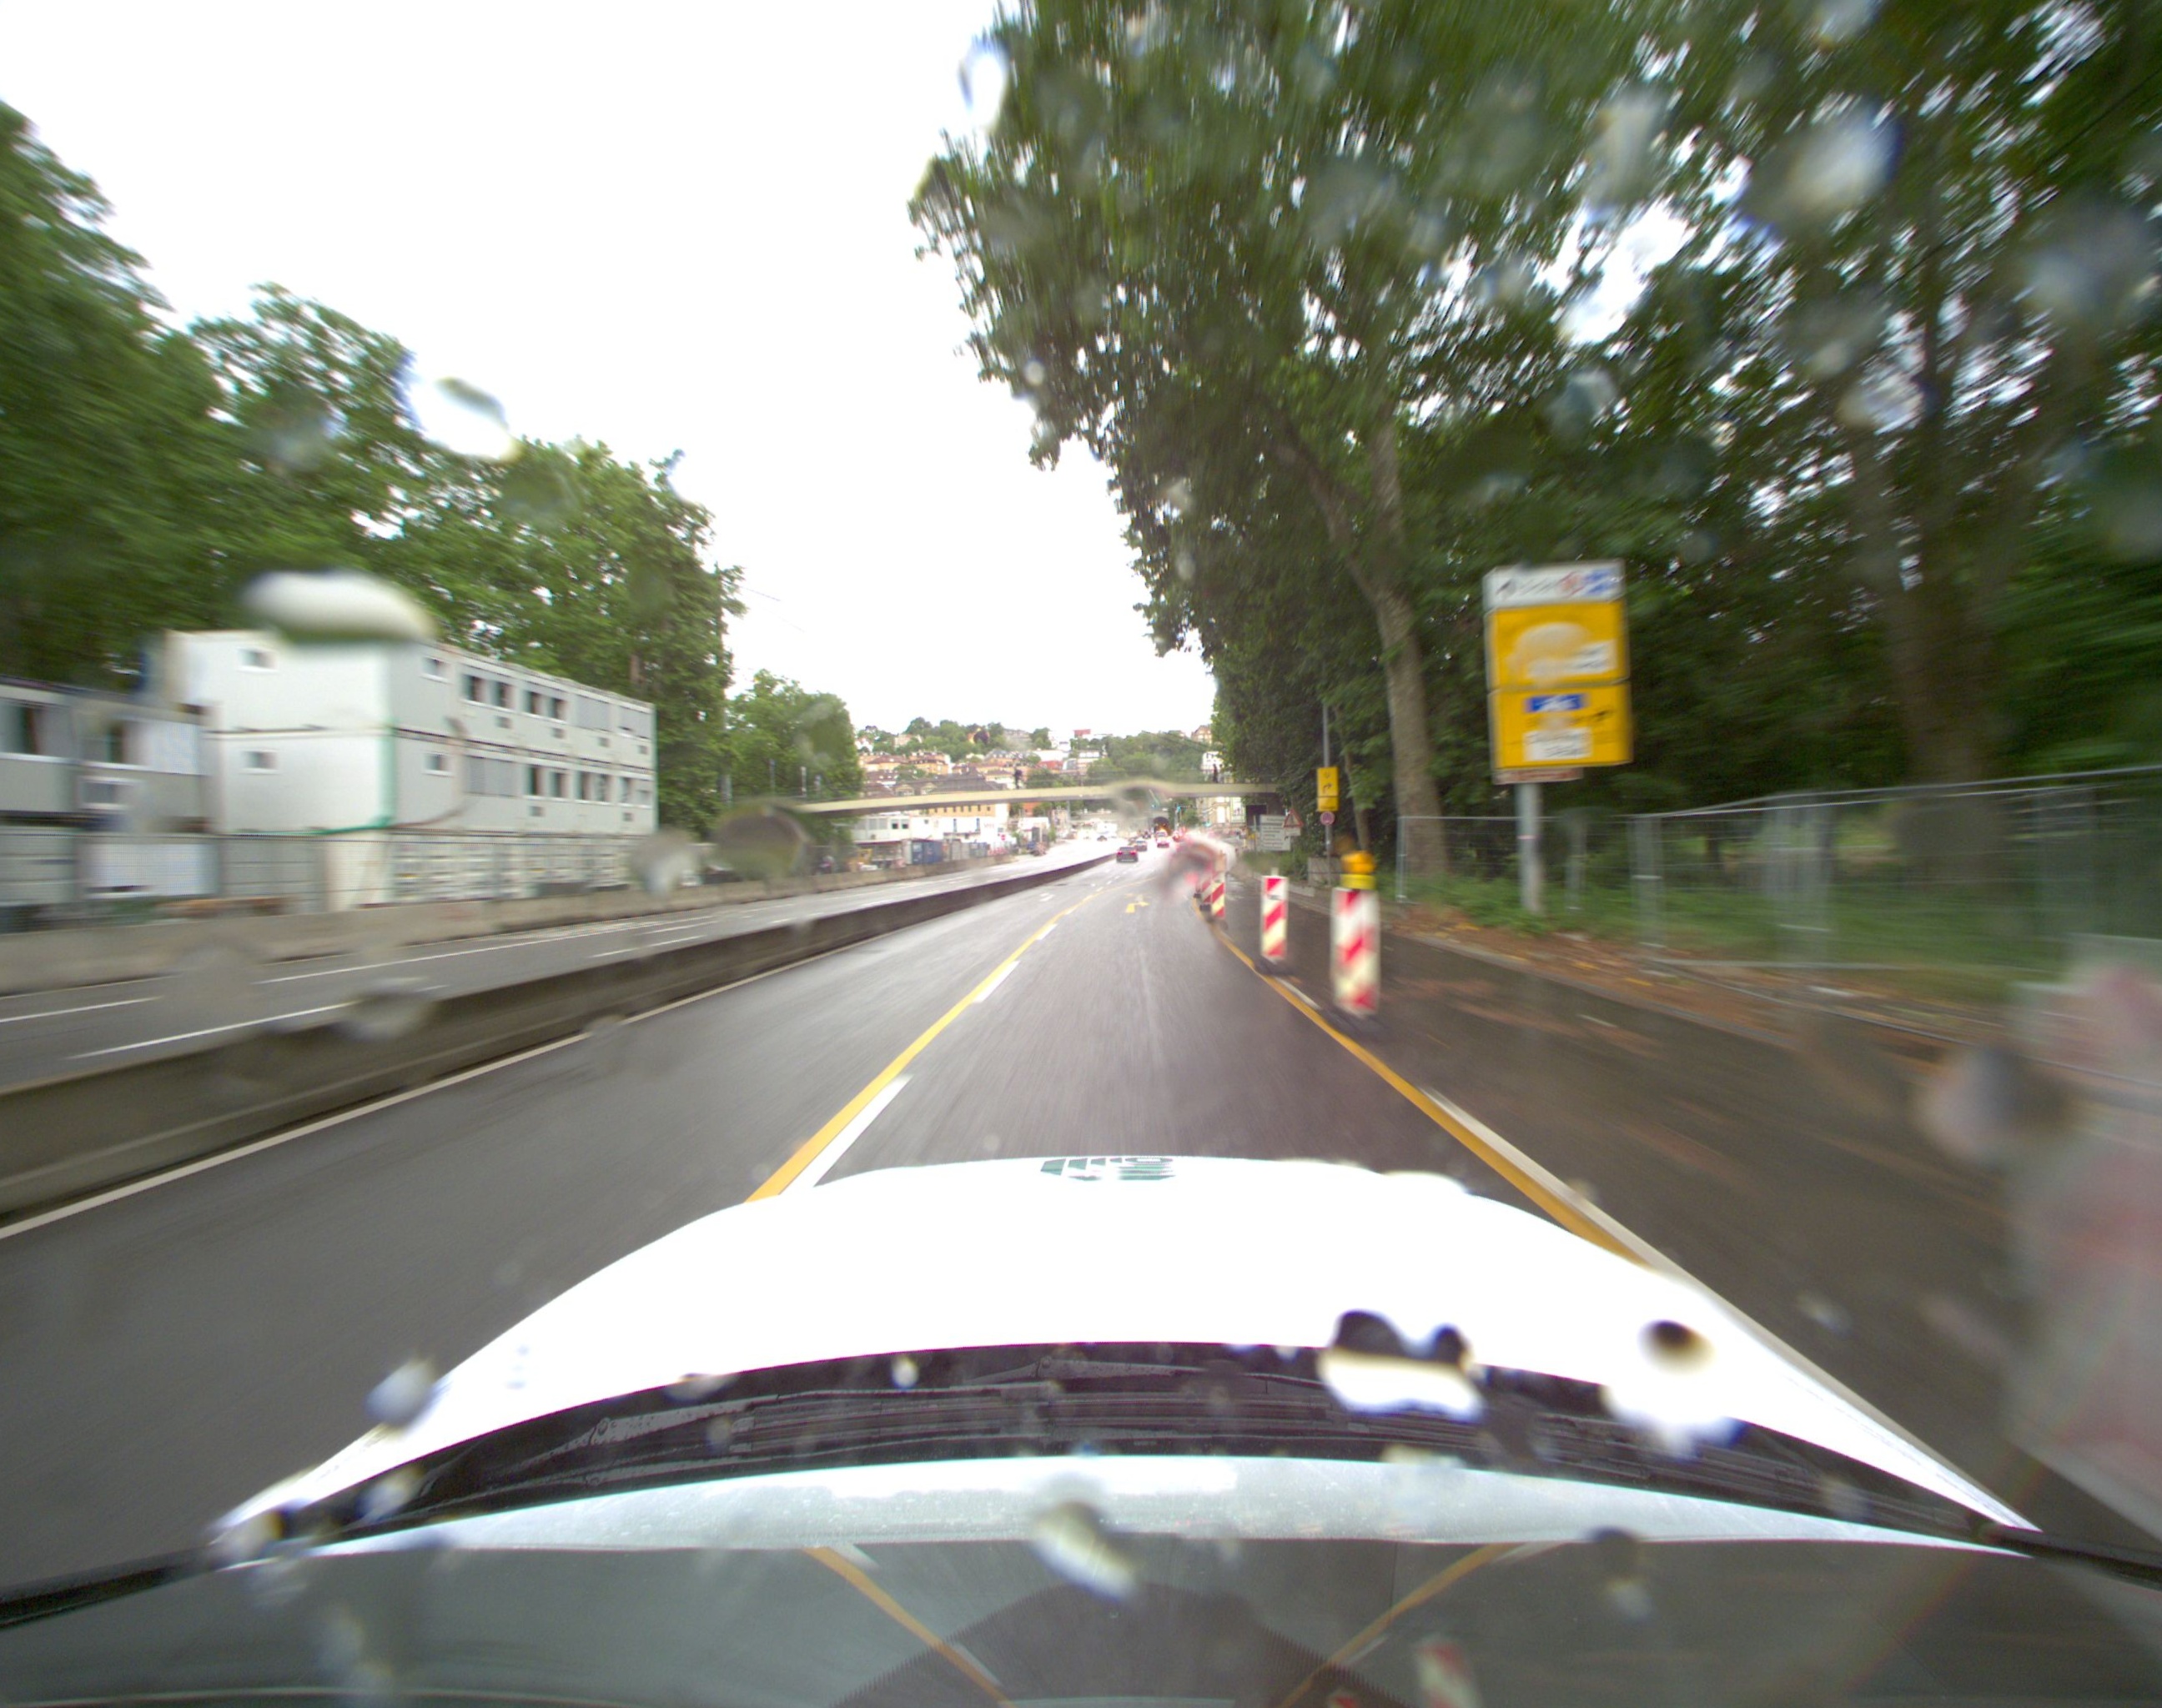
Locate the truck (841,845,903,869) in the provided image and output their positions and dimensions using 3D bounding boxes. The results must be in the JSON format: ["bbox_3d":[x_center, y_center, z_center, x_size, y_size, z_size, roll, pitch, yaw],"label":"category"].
[{"bbox_3d":[-19.882,0.288,77.547,5.229,2.013,2.164,-3,0,1],"label":"truck"}]

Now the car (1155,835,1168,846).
[{"bbox_3d":[14.249,-2.363,144.505,1.985,1.869,4.004,-3,0,4],"label":"car"}]

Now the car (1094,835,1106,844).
[{"bbox_3d":[3.616,-2.799,154.264,2.072,1.630,4.859,-2,1,4],"label":"car"}]

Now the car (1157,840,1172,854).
[{"bbox_3d":[12.574,-1.083,122.965,2.042,2.013,4.005,-3,0,4],"label":"car"}]

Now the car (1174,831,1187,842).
[{"bbox_3d":[17.920,-3.145,147.361,1.985,1.698,4.003,-3,0,3],"label":"car"}]

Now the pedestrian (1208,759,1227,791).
[{"bbox_3d":[9.496,-5.462,56.633,1.140,2.060,1.063,-3,-1,13],"label":"pedestrian"}]

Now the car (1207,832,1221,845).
[{"bbox_3d":[22.560,-2.636,138.411,1.984,2.013,4.006,-1,1,5],"label":"car"}]

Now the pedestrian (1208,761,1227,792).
[{"bbox_3d":[9.688,-5.482,57.657,1.140,2.060,1.063,-3,-1,13],"label":"pedestrian"}]

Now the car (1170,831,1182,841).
[{"bbox_3d":[17.931,-3.436,153.624,1.985,1.698,4.003,-3,0,3],"label":"car"}]

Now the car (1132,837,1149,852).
[{"bbox_3d":[8.133,-1.260,110.622,1.982,2.013,4.009,-3,0,8],"label":"car"}]

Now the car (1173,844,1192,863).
[{"bbox_3d":[11.939,-0.068,96.008,2.095,2.050,4.006,-3,0,5],"label":"car"}]

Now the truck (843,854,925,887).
[{"bbox_3d":[-16.674,1.374,69.273,6.260,2.452,2.692,-3,0,-2],"label":"truck"}]

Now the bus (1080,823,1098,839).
[{"bbox_3d":[1.745,-4.780,170.037,2.793,3.184,8.821,-2,1,5],"label":"bus"}]

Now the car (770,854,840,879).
[{"bbox_3d":[-20.179,0.878,59.727,4.414,1.627,1.957,-3,0,-4],"label":"car"}]

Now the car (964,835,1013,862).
[{"bbox_3d":[-10.427,-0.633,92.098,1.974,2.875,6.091,-3,0,32],"label":"car"}]

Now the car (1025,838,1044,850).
[{"bbox_3d":[-6.962,-1.487,123.451,1.982,1.621,4.011,-2,2,9],"label":"car"}]

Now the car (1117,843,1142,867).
[{"bbox_3d":[4.458,0.097,74.549,2.007,2.013,4.006,-3,0,5],"label":"car"}]

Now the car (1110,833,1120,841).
[{"bbox_3d":[7.161,-3.530,171.430,1.700,1.489,3.457,-3,0,6],"label":"car"}]

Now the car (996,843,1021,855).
[{"bbox_3d":[-9.729,-0.686,109.989,1.749,1.565,4.701,-3,0,15],"label":"car"}]

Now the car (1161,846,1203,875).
[{"bbox_3d":[5.890,0.328,47.191,1.799,1.527,4.016,-3,0,14],"label":"car"}]

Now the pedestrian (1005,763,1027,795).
[{"bbox_3d":[-4.506,-5.221,56.676,1.140,2.060,1.063,-3,-1,13],"label":"pedestrian"}]
